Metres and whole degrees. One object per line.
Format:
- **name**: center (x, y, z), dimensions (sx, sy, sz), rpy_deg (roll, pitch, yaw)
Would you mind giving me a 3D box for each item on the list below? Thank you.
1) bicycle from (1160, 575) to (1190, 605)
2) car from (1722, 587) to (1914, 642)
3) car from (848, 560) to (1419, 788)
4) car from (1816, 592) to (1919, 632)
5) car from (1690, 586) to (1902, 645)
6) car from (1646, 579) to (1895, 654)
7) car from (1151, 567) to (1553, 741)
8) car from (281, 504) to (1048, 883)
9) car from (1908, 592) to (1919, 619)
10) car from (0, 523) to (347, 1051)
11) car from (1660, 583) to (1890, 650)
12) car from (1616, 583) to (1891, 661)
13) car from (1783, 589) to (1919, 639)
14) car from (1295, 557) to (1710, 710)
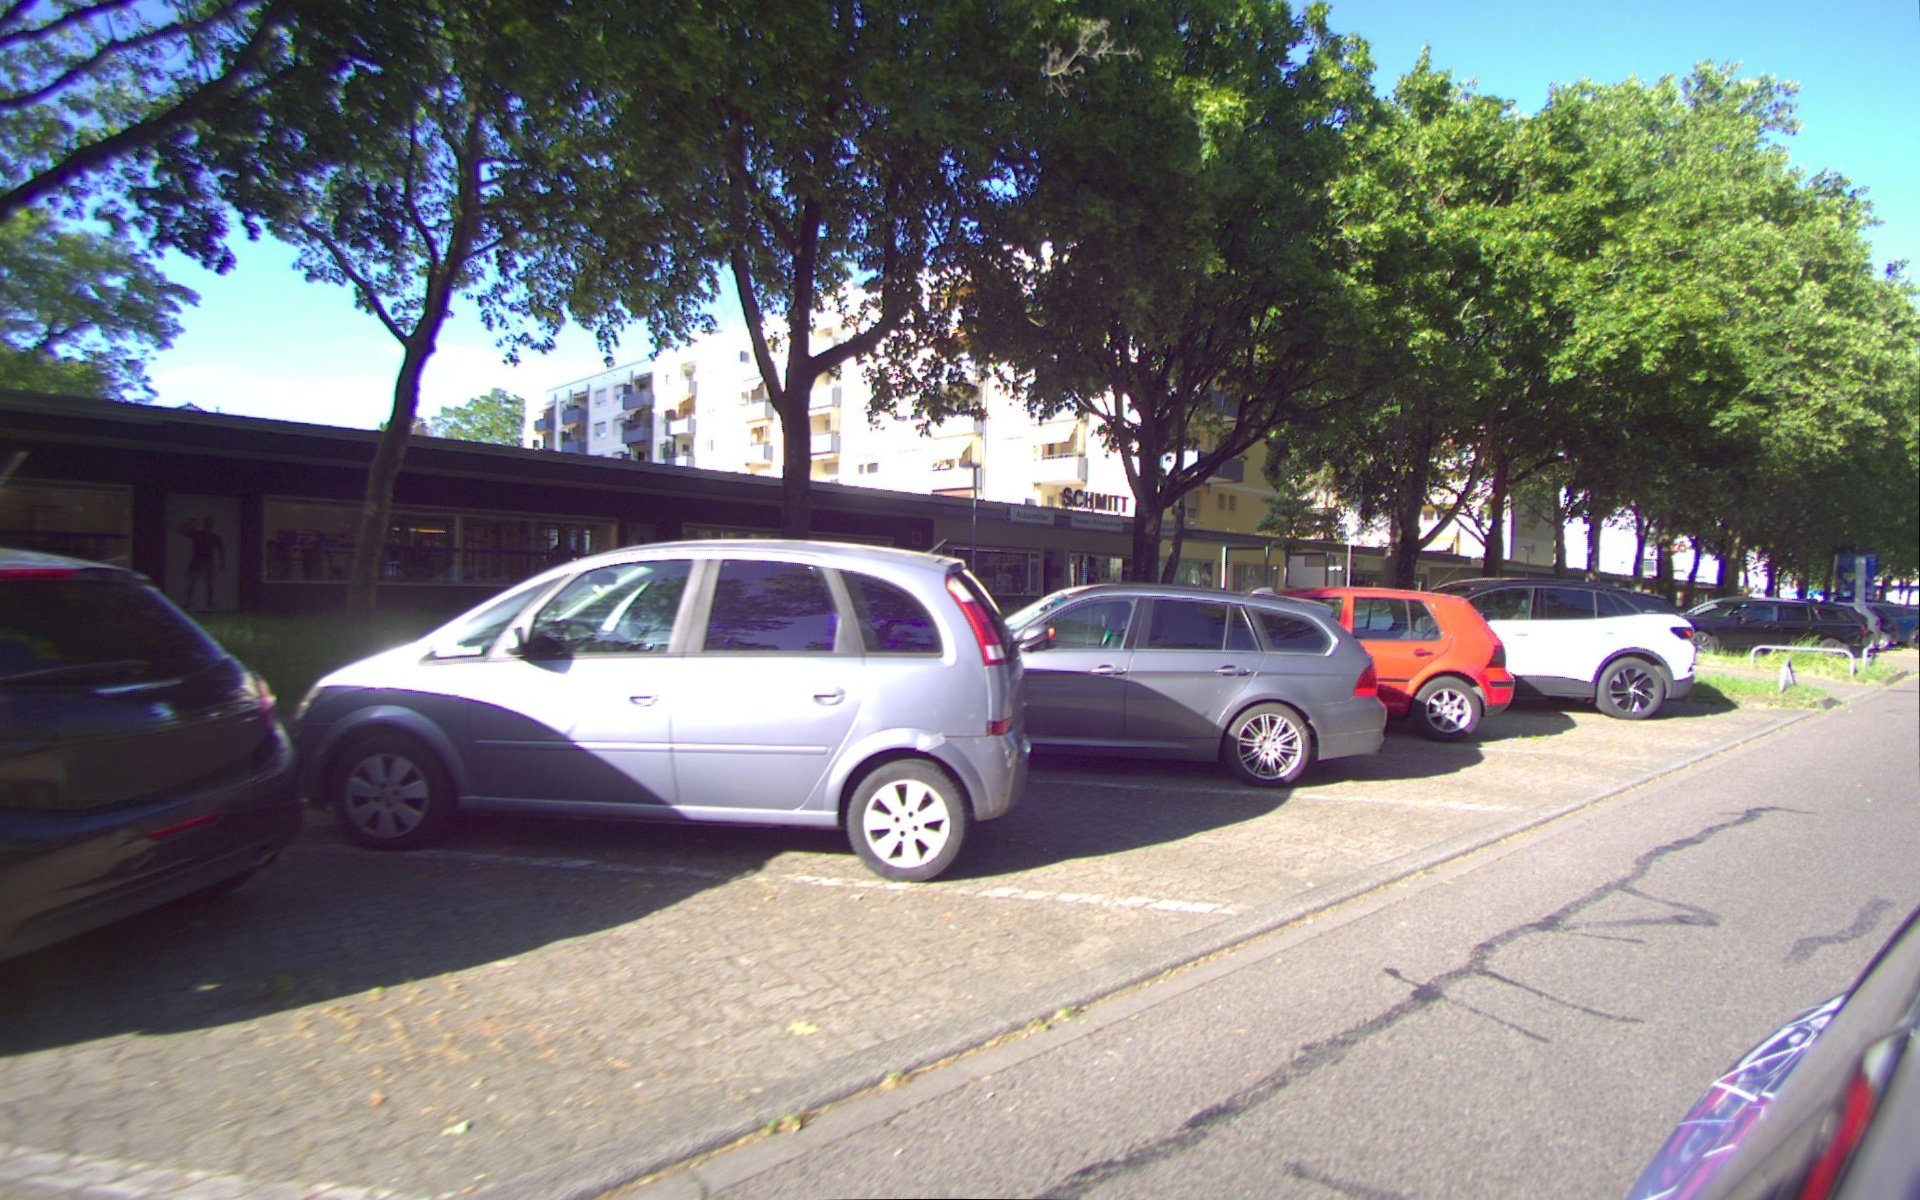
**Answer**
- **bicycle**: center (9.651, -0.444, 45.347), dimensions (1.632, 1.323, 0.505), rpy_deg (0, 0, -43)
- **car**: center (27.824, 0.439, 32.937), dimensions (4.418, 1.466, 1.899), rpy_deg (3, 2, 3)
- **car**: center (1.247, 0.488, 8.121), dimensions (4.013, 1.420, 1.686), rpy_deg (3, 2, 3)
- **car**: center (38.850, 0.515, 42.226), dimensions (4.418, 1.466, 1.899), rpy_deg (3, 2, 3)
- **car**: center (25.328, 0.427, 30.806), dimensions (4.592, 1.466, 1.999), rpy_deg (3, 2, 3)
- **car**: center (20.737, 0.384, 26.071), dimensions (4.592, 1.585, 1.999), rpy_deg (3, 2, 3)
- **car**: center (3.880, 0.475, 10.586), dimensions (3.515, 1.437, 1.709), rpy_deg (3, 3, 7)
- **car**: center (-1.413, 0.391, 5.647), dimensions (3.655, 1.610, 1.700), rpy_deg (3, 2, 3)
- **car**: center (64.066, 0.464, 64.914), dimensions (4.418, 1.693, 1.899), rpy_deg (3, 2, 3)
- **car**: center (-4.469, 0.430, 3.555), dimensions (3.679, 1.476, 1.681), rpy_deg (2, 2, 5)
- **car**: center (22.597, 0.417, 28.225), dimensions (4.592, 1.539, 1.999), rpy_deg (3, 2, 3)
- **car**: center (18.218, 0.464, 23.431), dimensions (4.592, 1.442, 1.999), rpy_deg (3, 2, 3)
- **car**: center (31.658, 0.490, 35.116), dimensions (4.418, 1.466, 1.899), rpy_deg (3, 2, 3)
- **car**: center (6.722, 0.363, 12.965), dimensions (4.226, 1.696, 1.866), rpy_deg (2, 1, 4)
